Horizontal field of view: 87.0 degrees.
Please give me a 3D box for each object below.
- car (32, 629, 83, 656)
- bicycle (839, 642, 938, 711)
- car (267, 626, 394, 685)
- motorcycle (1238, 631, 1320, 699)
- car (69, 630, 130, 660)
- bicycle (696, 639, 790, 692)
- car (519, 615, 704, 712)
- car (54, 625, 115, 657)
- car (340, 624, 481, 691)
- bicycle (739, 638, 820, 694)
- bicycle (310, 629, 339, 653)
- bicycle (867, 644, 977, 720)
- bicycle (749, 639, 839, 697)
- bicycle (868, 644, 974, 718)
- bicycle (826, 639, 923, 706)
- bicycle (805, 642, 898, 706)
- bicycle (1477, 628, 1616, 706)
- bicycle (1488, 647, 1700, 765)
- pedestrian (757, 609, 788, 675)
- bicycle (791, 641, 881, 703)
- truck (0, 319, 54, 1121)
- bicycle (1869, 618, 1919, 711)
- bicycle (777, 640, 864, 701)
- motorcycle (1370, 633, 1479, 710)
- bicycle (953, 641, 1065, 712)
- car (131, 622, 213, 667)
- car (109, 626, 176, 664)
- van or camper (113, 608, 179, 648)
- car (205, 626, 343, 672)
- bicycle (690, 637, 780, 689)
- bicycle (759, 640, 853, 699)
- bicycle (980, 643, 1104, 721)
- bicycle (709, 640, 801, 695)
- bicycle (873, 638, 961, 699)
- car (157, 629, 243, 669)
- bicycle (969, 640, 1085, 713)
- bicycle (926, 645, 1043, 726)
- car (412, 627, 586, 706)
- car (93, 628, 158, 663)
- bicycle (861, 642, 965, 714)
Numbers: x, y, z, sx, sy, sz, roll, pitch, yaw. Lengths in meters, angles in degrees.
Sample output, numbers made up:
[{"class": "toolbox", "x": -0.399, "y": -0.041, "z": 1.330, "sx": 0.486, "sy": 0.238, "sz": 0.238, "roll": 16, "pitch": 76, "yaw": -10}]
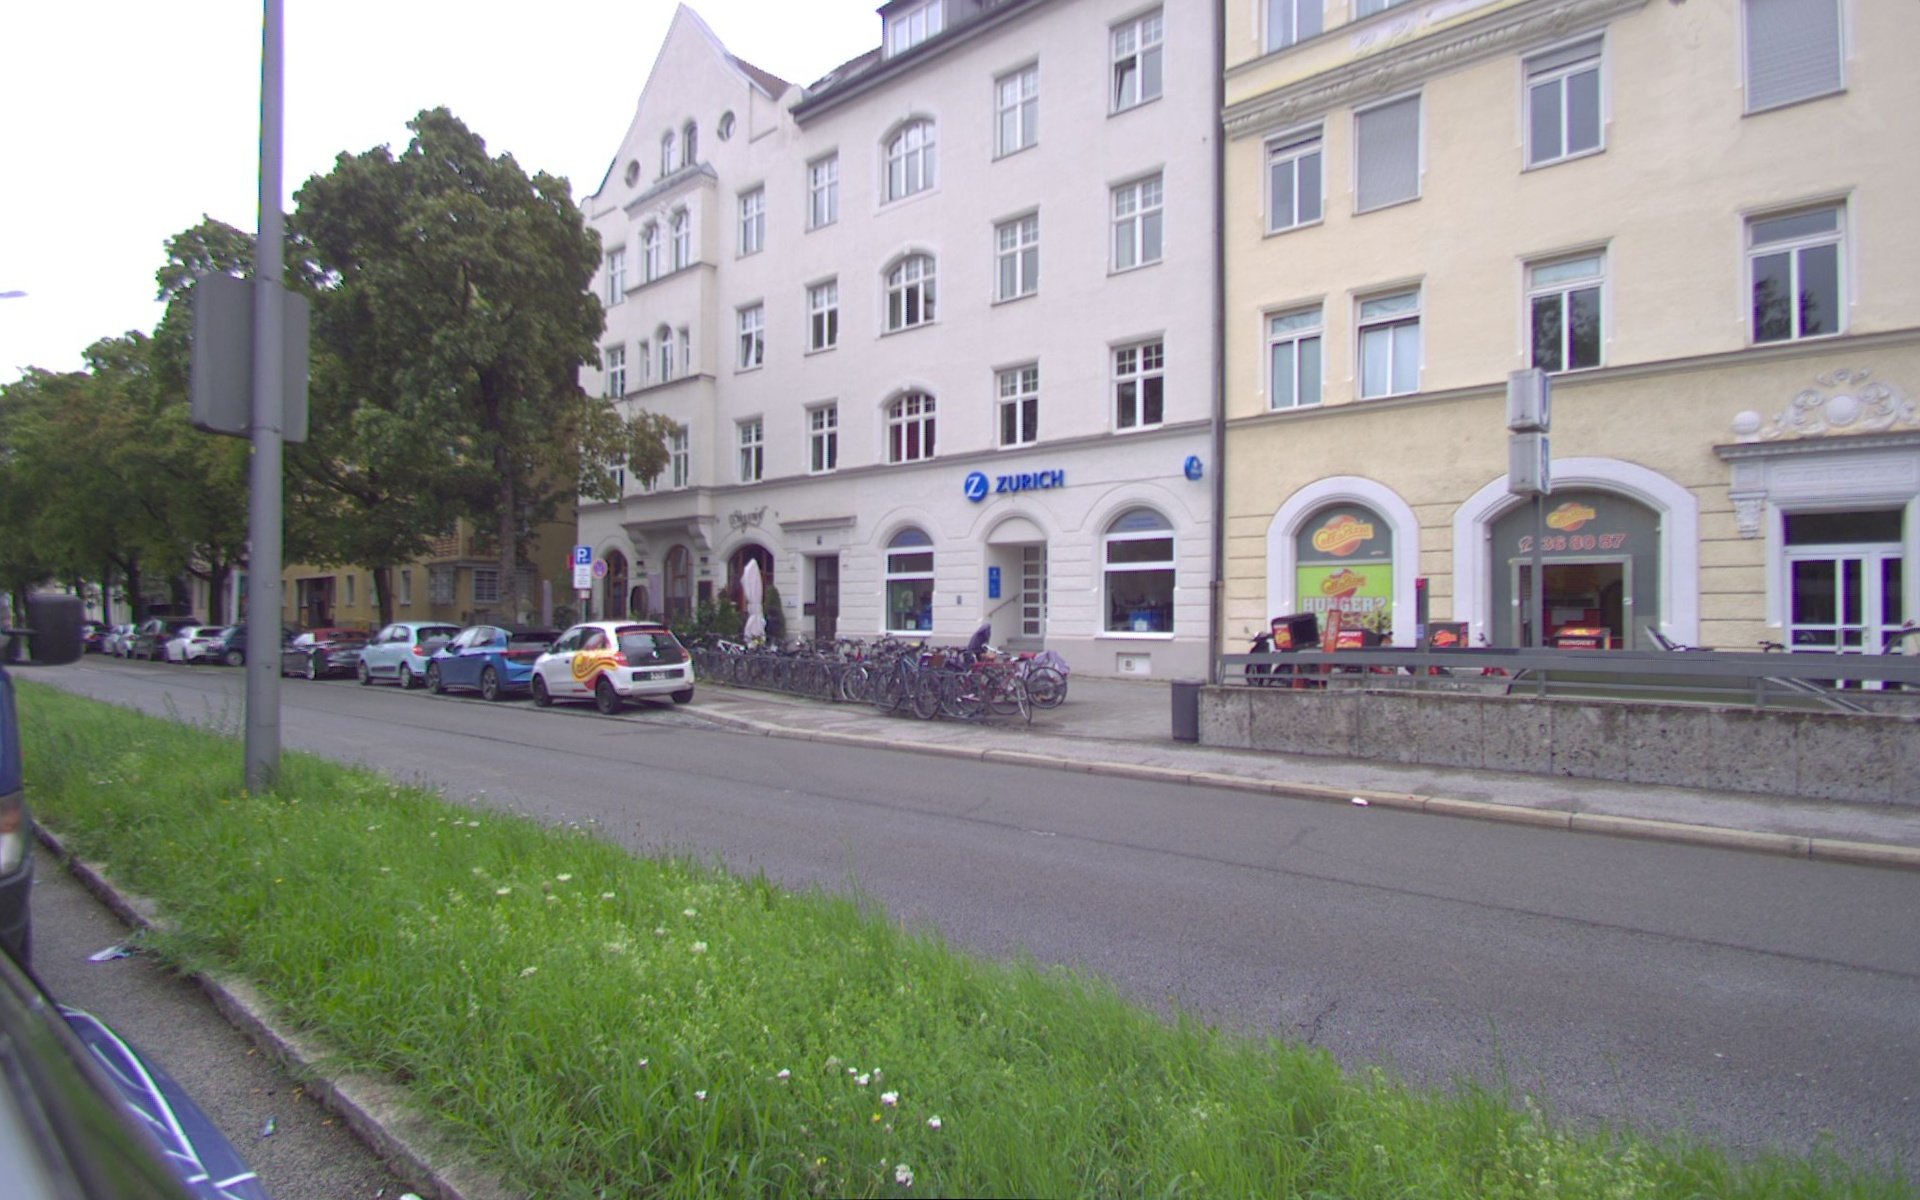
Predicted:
[{"class": "car", "x": -51.971, "y": 2.420, "z": 58.247, "sx": 4.490, "sy": 1.465, "sz": 1.674, "roll": -1, "pitch": -2, "yaw": 41}, {"class": "bicycle", "x": -1.208, "y": 1.263, "z": 16.993, "sx": 1.667, "sy": 1.124, "sz": 0.328, "roll": -1, "pitch": -2, "yaw": 18}, {"class": "car", "x": -17.887, "y": 1.510, "z": 28.683, "sx": 4.643, "sy": 1.518, "sz": 1.792, "roll": -1, "pitch": -2, "yaw": 41}, {"class": "motorcycle", "x": 5.863, "y": 1.167, "z": 18.734, "sx": 0.600, "sy": 1.139, "sz": 1.991, "roll": 0, "pitch": -1, "yaw": -9}, {"class": "car", "x": -43.008, "y": 2.212, "z": 50.554, "sx": 4.361, "sy": 1.416, "sz": 1.709, "roll": -1, "pitch": -2, "yaw": 41}, {"class": "bicycle", "x": -4.732, "y": 1.418, "z": 22.081, "sx": 1.966, "sy": 1.124, "sz": 0.503, "roll": -1, "pitch": -1, "yaw": 10}, {"class": "car", "x": -6.461, "y": 1.094, "z": 18.581, "sx": 3.790, "sy": 1.597, "sz": 1.631, "roll": -1, "pitch": -2, "yaw": 43}, {"class": "car", "x": -47.218, "y": 2.182, "z": 54.552, "sx": 4.768, "sy": 1.658, "sz": 1.859, "roll": -1, "pitch": -2, "yaw": 41}, {"class": "car", "x": -13.574, "y": 1.354, "z": 24.910, "sx": 3.958, "sy": 1.518, "sz": 1.792, "roll": -1, "pitch": -2, "yaw": 41}, {"class": "bicycle", "x": -3.745, "y": 1.359, "z": 20.950, "sx": 1.664, "sy": 1.124, "sz": 0.329, "roll": -1, "pitch": -1, "yaw": 14}, {"class": "bicycle", "x": -33.224, "y": 2.137, "z": 52.881, "sx": 1.929, "sy": 1.231, "sz": 0.762, "roll": -1, "pitch": -2, "yaw": 41}, {"class": "bicycle", "x": -0.593, "y": 1.240, "z": 15.509, "sx": 1.667, "sy": 1.124, "sz": 0.366, "roll": -1, "pitch": -2, "yaw": 18}, {"class": "bicycle", "x": -3.342, "y": 1.356, "z": 20.338, "sx": 1.859, "sy": 1.124, "sz": 0.328, "roll": -1, "pitch": -2, "yaw": 18}, {"class": "bicycle", "x": -0.619, "y": 1.252, "z": 15.930, "sx": 1.667, "sy": 1.124, "sz": 0.328, "roll": -1, "pitch": -2, "yaw": 18}, {"class": "bicycle", "x": -1.494, "y": 1.239, "z": 17.555, "sx": 1.667, "sy": 1.124, "sz": 0.380, "roll": -1, "pitch": -2, "yaw": 18}, {"class": "bicycle", "x": -1.943, "y": 1.311, "z": 18.105, "sx": 1.667, "sy": 1.124, "sz": 0.328, "roll": -1, "pitch": -2, "yaw": 18}, {"class": "bicycle", "x": 7.870, "y": 0.879, "z": 13.617, "sx": 1.544, "sy": 0.988, "sz": 0.468, "roll": -1, "pitch": -2, "yaw": 41}, {"class": "bicycle", "x": 6.503, "y": 1.058, "z": 10.470, "sx": 1.808, "sy": 1.124, "sz": 0.392, "roll": -1, "pitch": -2, "yaw": 33}, {"class": "pedestrian", "x": -4.759, "y": 1.055, "z": 25.718, "sx": 0.416, "sy": 1.644, "sz": 0.784, "roll": 1, "pitch": -2, "yaw": -43}, {"class": "bicycle", "x": -2.294, "y": 1.316, "z": 18.710, "sx": 1.667, "sy": 1.124, "sz": 0.328, "roll": -1, "pitch": -2, "yaw": 18}, {"class": "truck", "x": -5.508, "y": 0.402, "z": 4.209, "sx": 5.148, "sy": 2.508, "sz": 1.973, "roll": -1, "pitch": -2, "yaw": 41}, {"class": "bicycle", "x": 10.643, "y": 0.685, "z": 10.666, "sx": 1.544, "sy": 0.988, "sz": 0.468, "roll": -1, "pitch": -2, "yaw": 41}, {"class": "bicycle", "x": -2.657, "y": 1.329, "z": 19.266, "sx": 1.667, "sy": 1.124, "sz": 0.328, "roll": -1, "pitch": -2, "yaw": 18}, {"class": "motorcycle", "x": 7.538, "y": 1.132, "z": 16.535, "sx": 0.600, "sy": 1.130, "sz": 1.991, "roll": 0, "pitch": -1, "yaw": -9}, {"class": "bicycle", "x": 0.806, "y": 1.241, "z": 16.707, "sx": 1.799, "sy": 1.124, "sz": 0.394, "roll": -1, "pitch": -2, "yaw": 18}, {"class": "car", "x": -32.718, "y": 1.801, "z": 41.966, "sx": 4.765, "sy": 1.741, "sz": 1.791, "roll": -1, "pitch": -2, "yaw": 41}, {"class": "car", "x": -36.187, "y": 1.961, "z": 44.787, "sx": 3.007, "sy": 1.569, "sz": 1.710, "roll": -1, "pitch": -2, "yaw": 39}, {"class": "van or camper", "x": -55.512, "y": 1.907, "z": 68.933, "sx": 6.847, "sy": 2.599, "sz": 2.321, "roll": -1, "pitch": -2, "yaw": 41}, {"class": "car", "x": -25.051, "y": 1.749, "z": 37.030, "sx": 1.730, "sy": 1.475, "sz": 3.851, "roll": -1, "pitch": -1, "yaw": 39}, {"class": "bicycle", "x": -5.031, "y": 1.405, "z": 22.660, "sx": 1.944, "sy": 1.124, "sz": 0.457, "roll": -1, "pitch": -1, "yaw": 10}, {"class": "bicycle", "x": -3.021, "y": 1.355, "z": 19.820, "sx": 1.859, "sy": 1.124, "sz": 0.328, "roll": -1, "pitch": -2, "yaw": 18}, {"class": "bicycle", "x": 1.219, "y": 1.212, "z": 15.153, "sx": 1.799, "sy": 1.124, "sz": 0.394, "roll": -1, "pitch": -2, "yaw": 18}, {"class": "bicycle", "x": -4.353, "y": 1.422, "z": 21.517, "sx": 1.860, "sy": 1.124, "sz": 0.548, "roll": -1, "pitch": -1, "yaw": 10}, {"class": "bicycle", "x": -0.822, "y": 1.284, "z": 19.171, "sx": 1.667, "sy": 1.124, "sz": 0.328, "roll": -1, "pitch": -2, "yaw": 18}, {"class": "car", "x": -28.636, "y": 1.787, "z": 38.095, "sx": 4.401, "sy": 1.413, "sz": 1.708, "roll": -1, "pitch": -2, "yaw": 41}, {"class": "bicycle", "x": 1.064, "y": 1.208, "z": 16.153, "sx": 1.799, "sy": 1.124, "sz": 0.394, "roll": -1, "pitch": -2, "yaw": 18}, {"class": "bicycle", "x": 0.347, "y": 1.222, "z": 14.691, "sx": 1.667, "sy": 1.124, "sz": 0.328, "roll": -1, "pitch": -2, "yaw": 18}, {"class": "car", "x": -9.925, "y": 1.341, "z": 21.659, "sx": 4.289, "sy": 1.518, "sz": 1.792, "roll": -1, "pitch": -2, "yaw": 41}, {"class": "car", "x": -39.356, "y": 2.100, "z": 47.687, "sx": 4.055, "sy": 1.573, "sz": 1.709, "roll": -1, "pitch": -2, "yaw": 41}, {"class": "bicycle", "x": -0.768, "y": 1.248, "z": 16.400, "sx": 1.667, "sy": 1.124, "sz": 0.365, "roll": -1, "pitch": -2, "yaw": 18}]
